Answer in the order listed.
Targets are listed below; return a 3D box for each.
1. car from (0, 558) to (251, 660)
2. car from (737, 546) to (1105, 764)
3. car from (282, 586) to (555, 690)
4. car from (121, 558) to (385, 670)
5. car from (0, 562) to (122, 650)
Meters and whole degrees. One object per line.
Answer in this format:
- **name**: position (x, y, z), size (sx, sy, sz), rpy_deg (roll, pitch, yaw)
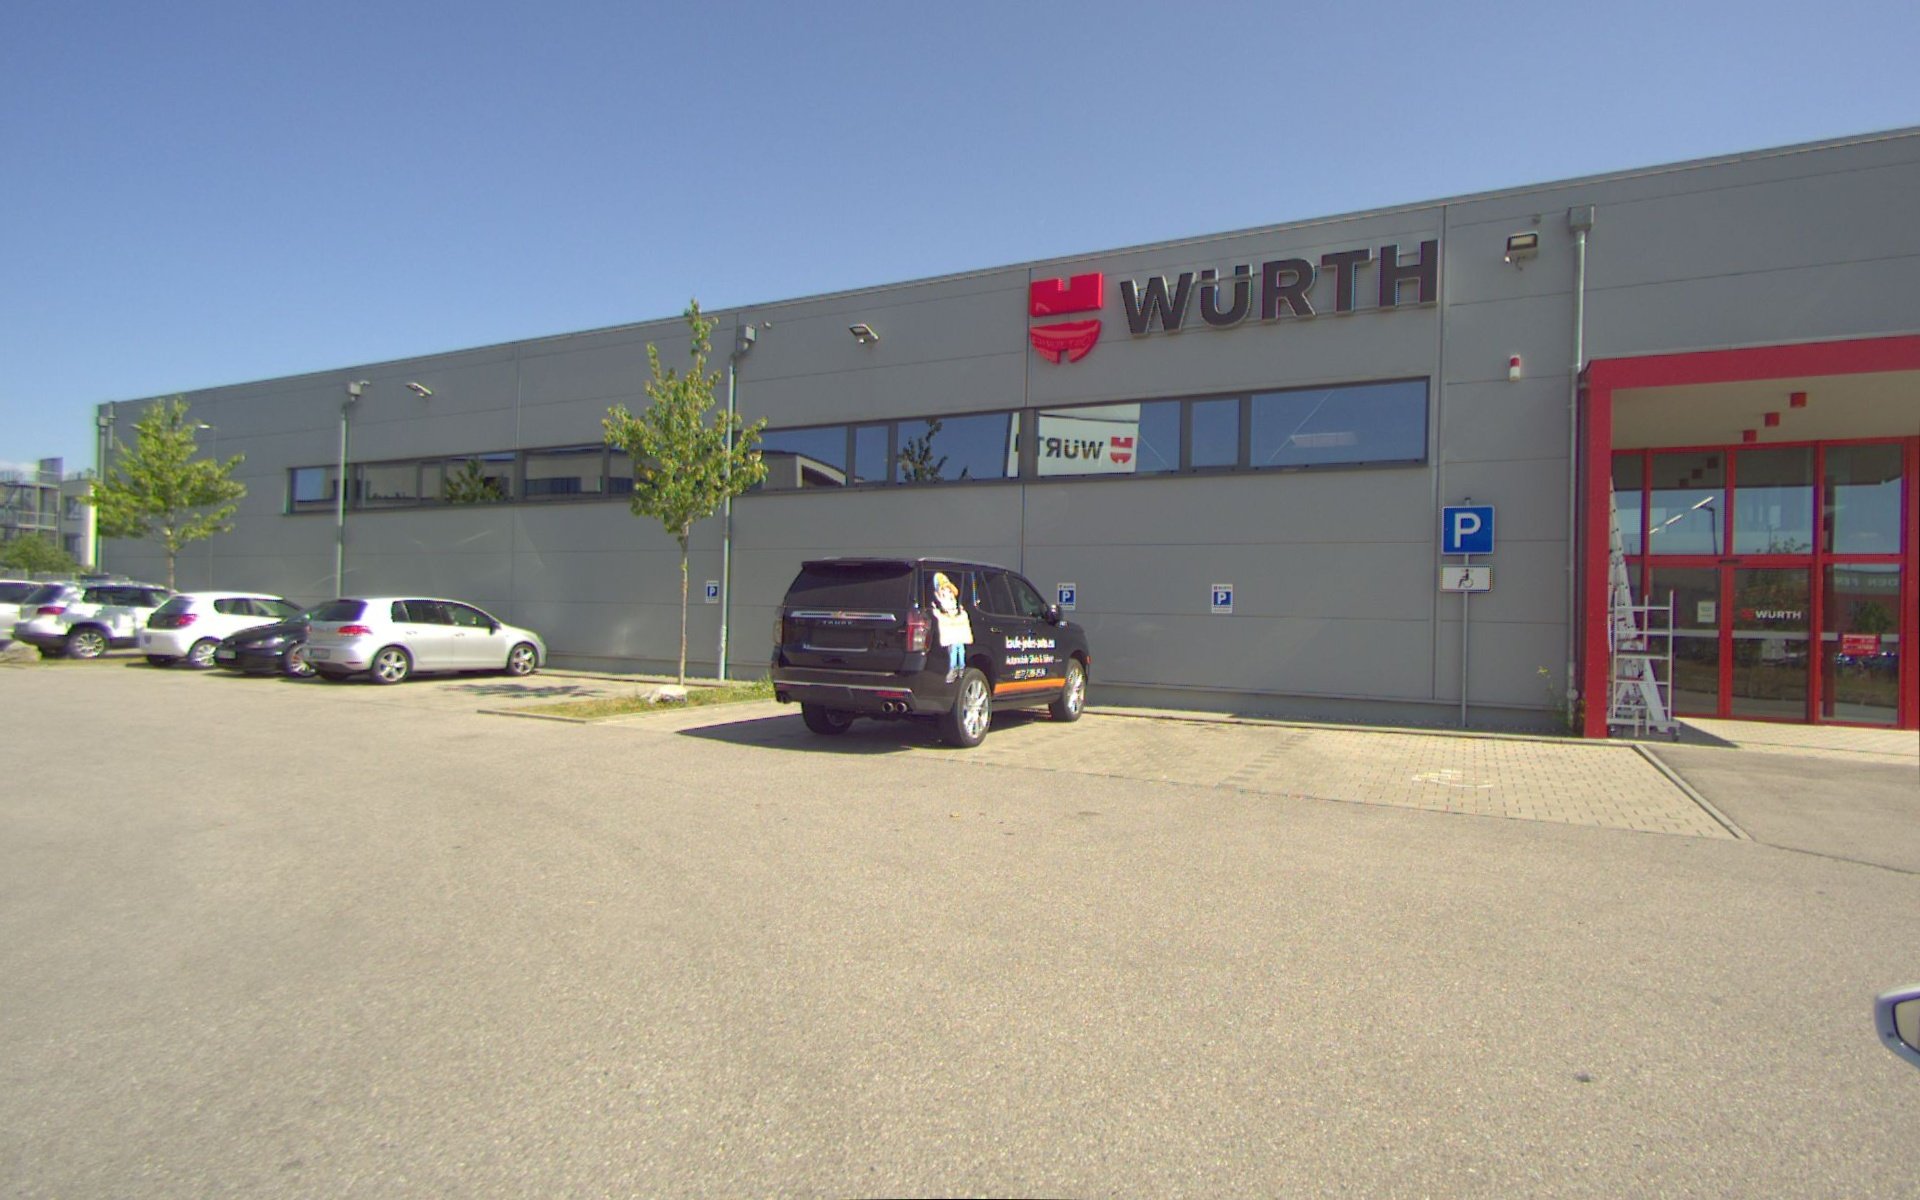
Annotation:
- **car**: position (-18.560, 0.200, 22.413), size (1.963, 2.040, 3.994), rpy_deg (2, 0, 28)
- **car**: position (-0.105, 0.540, 11.933), size (1.993, 1.964, 5.374), rpy_deg (1, -1, 27)
- **car**: position (-9.513, 0.629, 17.995), size (1.749, 1.638, 3.994), rpy_deg (1, -1, 28)
- **car**: position (-14.434, 0.276, 20.764), size (1.962, 2.040, 3.997), rpy_deg (2, 0, 24)
- **car**: position (-23.012, 0.128, 24.125), size (1.964, 2.040, 3.993), rpy_deg (2, 0, 30)
